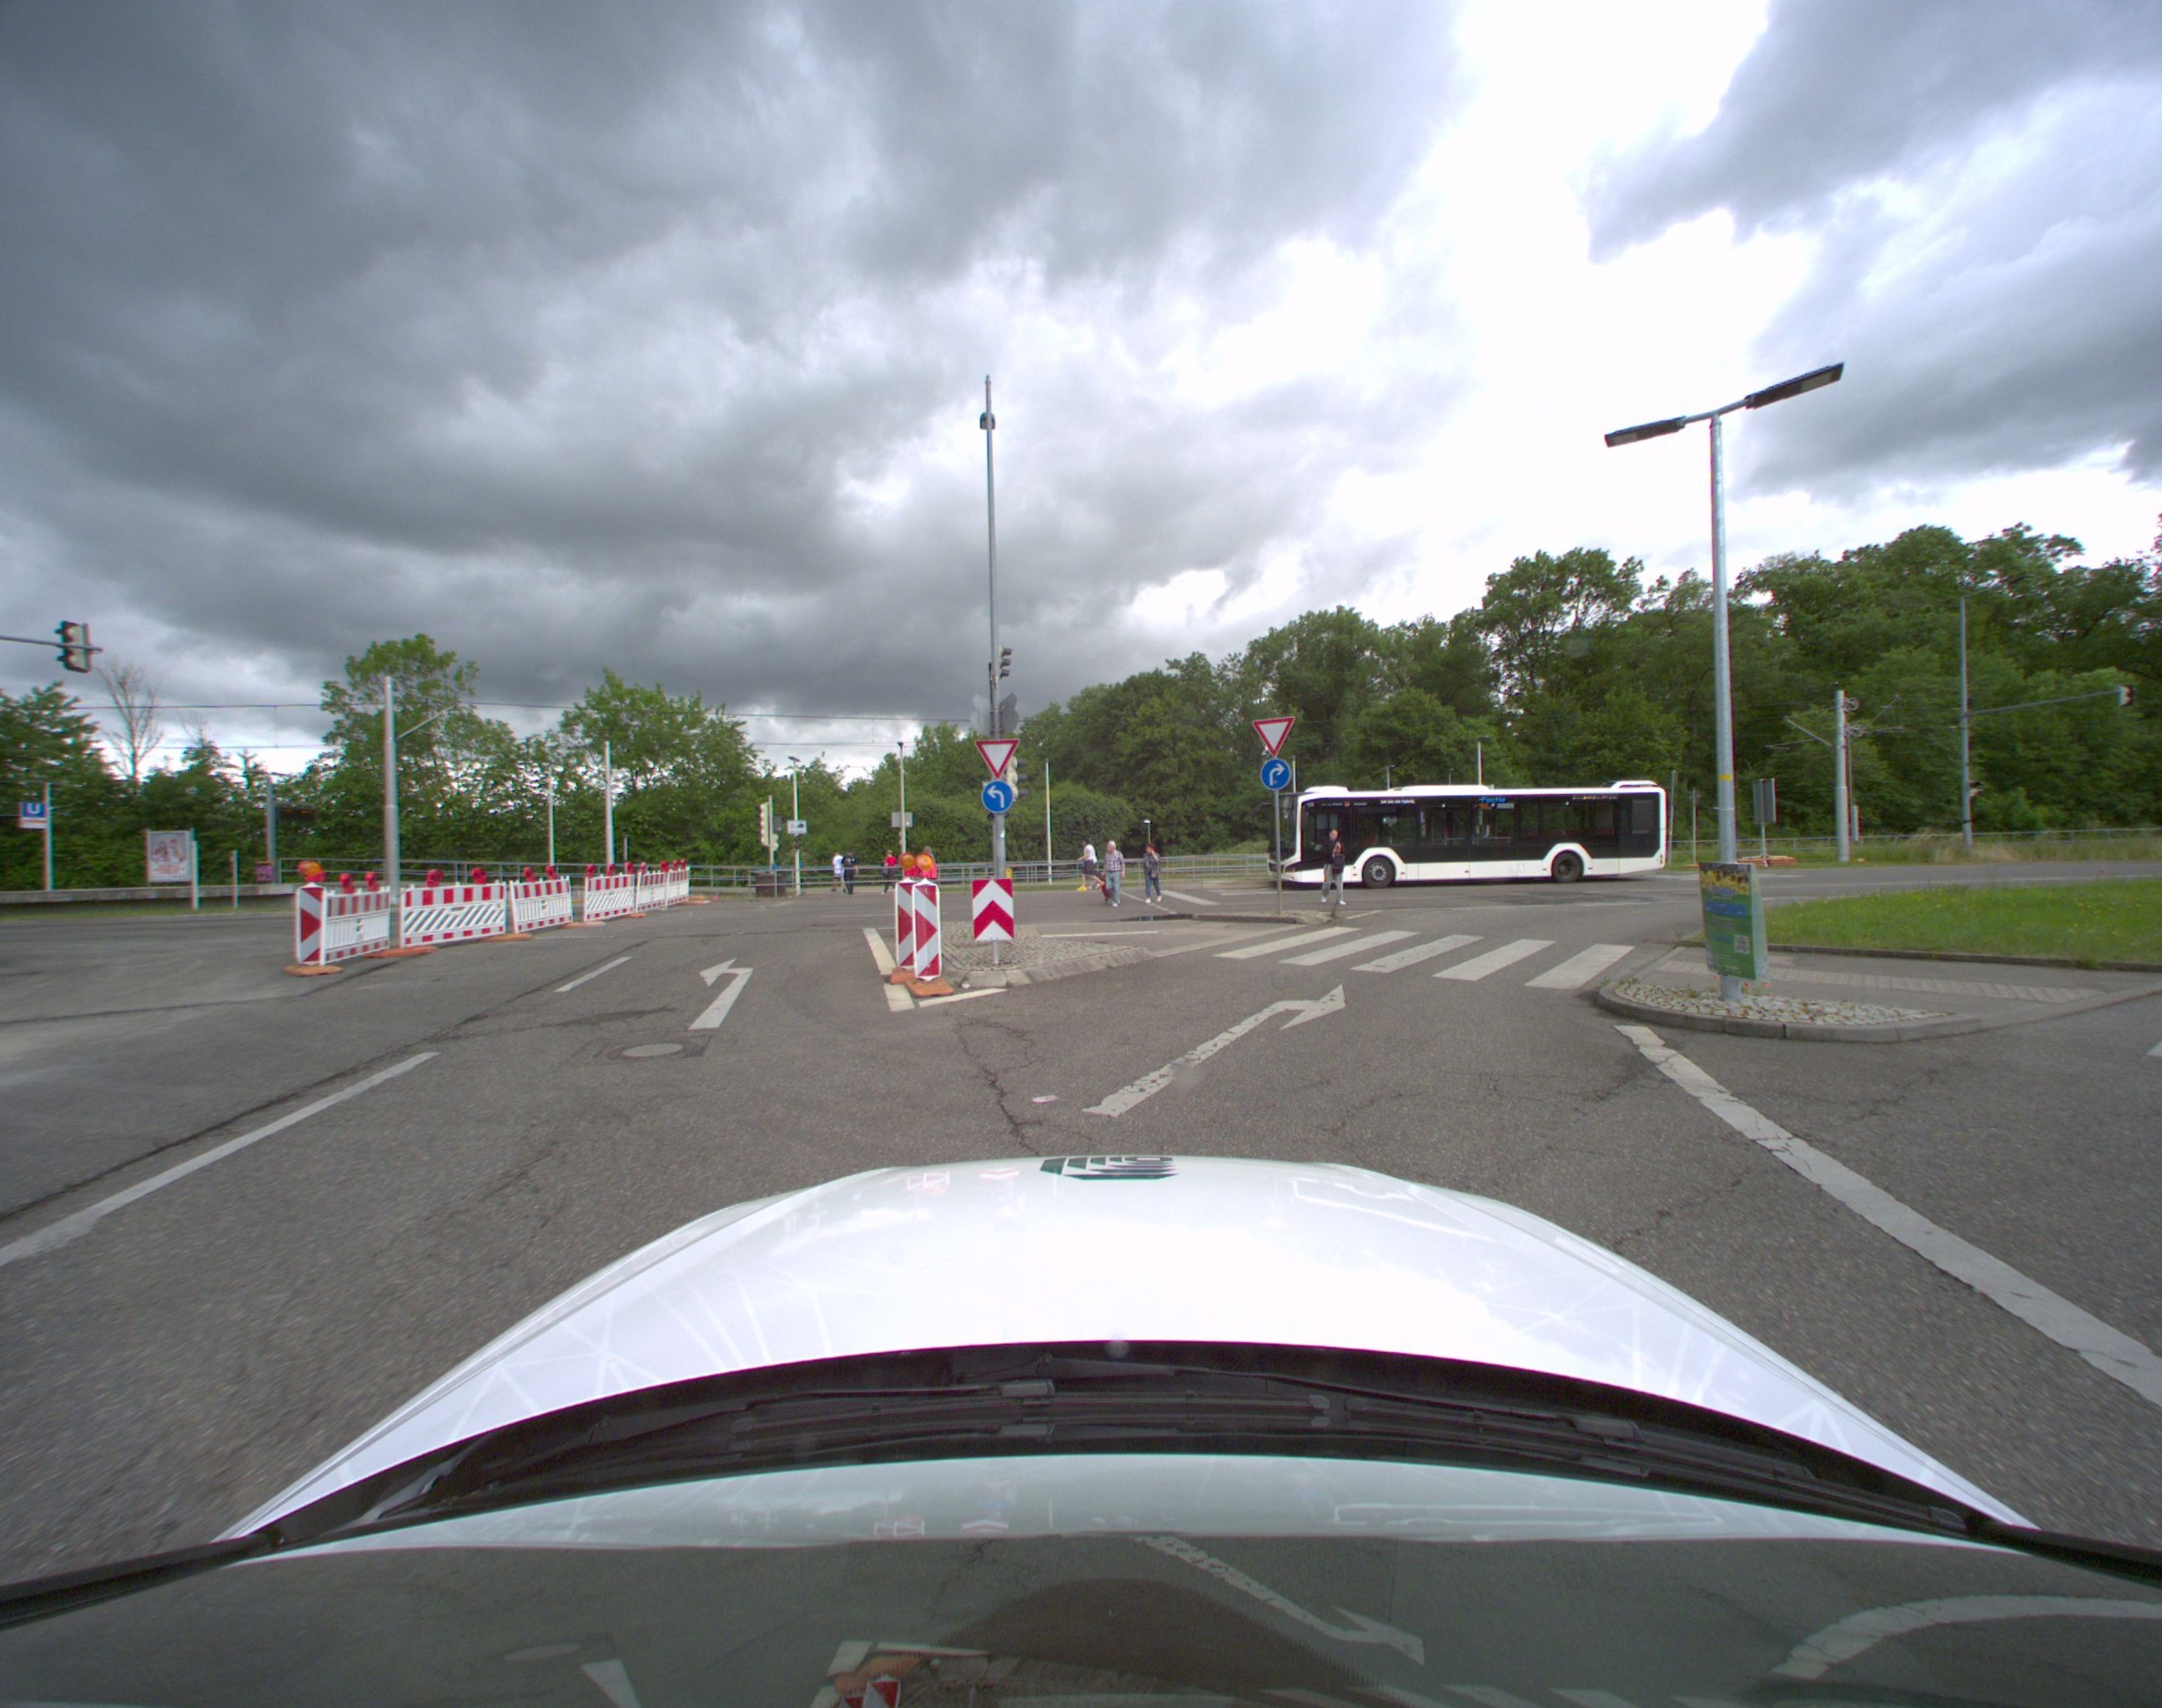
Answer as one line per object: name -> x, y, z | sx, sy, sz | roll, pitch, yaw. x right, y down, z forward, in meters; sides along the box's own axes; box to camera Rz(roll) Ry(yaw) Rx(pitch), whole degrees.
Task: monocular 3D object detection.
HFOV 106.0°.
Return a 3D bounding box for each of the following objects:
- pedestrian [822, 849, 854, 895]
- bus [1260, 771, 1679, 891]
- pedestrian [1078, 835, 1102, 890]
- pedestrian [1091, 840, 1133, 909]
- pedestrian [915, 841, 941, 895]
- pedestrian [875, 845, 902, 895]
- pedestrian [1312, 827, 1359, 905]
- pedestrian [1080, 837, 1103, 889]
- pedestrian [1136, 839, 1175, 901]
pedestrian -> -9.486, 0.684, 31.785 | 0.945, 1.747, 0.727 | -1, 0, 34
bus -> 11.947, -0.733, 25.429 | 12.142, 3.203, 2.670 | -2, 0, -6
pedestrian -> 0.300, 0.284, 26.578 | 0.718, 1.747, 0.957 | -1, 0, 0
pedestrian -> 0.771, 0.492, 20.065 | 0.725, 1.633, 0.691 | -1, 0, -35
pedestrian -> -5.057, 0.449, 26.988 | 0.719, 1.747, 0.955 | -1, 0, -6
pedestrian -> -6.455, 0.522, 27.336 | 0.719, 1.621, 0.804 | -1, 0, -6
pedestrian -> 5.903, 0.266, 18.963 | 0.947, 1.747, 1.066 | -1, 0, 13
pedestrian -> 0.357, 0.296, 27.621 | 0.718, 1.747, 0.957 | -1, 0, 0
pedestrian -> 1.926, 0.407, 21.030 | 0.683, 1.567, 0.737 | -1, 0, 39
